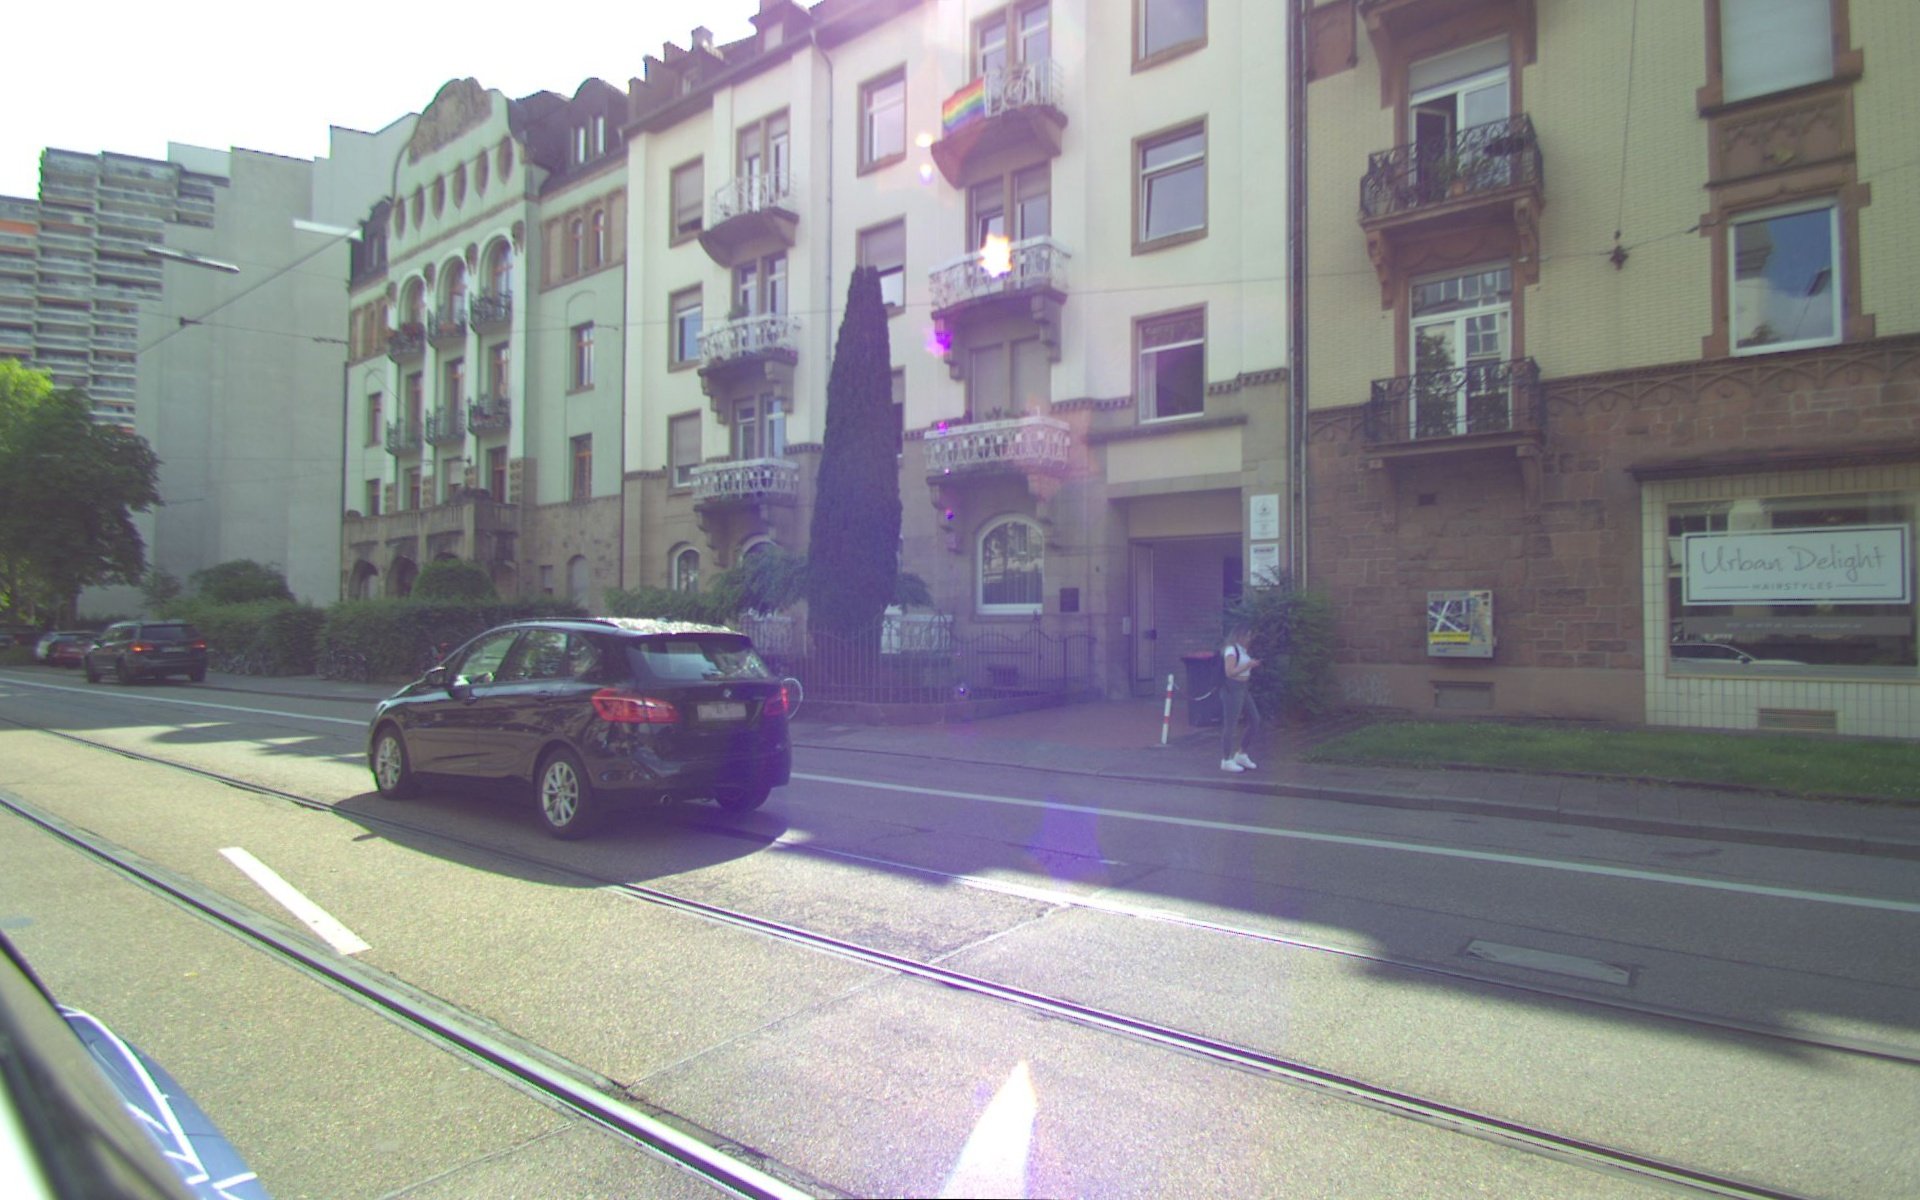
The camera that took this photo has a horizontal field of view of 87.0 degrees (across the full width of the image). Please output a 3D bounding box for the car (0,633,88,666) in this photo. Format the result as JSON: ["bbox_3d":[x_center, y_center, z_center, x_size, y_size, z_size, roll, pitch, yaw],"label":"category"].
[{"bbox_3d":[-43.990,2.324,47.983,3.938,1.519,2.002,2,-3,-42],"label":"car"}]

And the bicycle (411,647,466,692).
[{"bbox_3d":[-12.144,1.600,23.566,1.785,1.003,0.462,-2,-3,40],"label":"bicycle"}]

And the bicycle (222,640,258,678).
[{"bbox_3d":[-22.511,1.828,31.635,1.785,1.144,0.462,-2,-3,40],"label":"bicycle"}]

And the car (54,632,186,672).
[{"bbox_3d":[-33.385,2.048,40.257,3.938,1.519,2.002,2,-3,-42],"label":"car"}]

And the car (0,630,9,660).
[{"bbox_3d":[-56.914,2.575,57.636,3.938,1.695,2.002,2,-3,-42],"label":"car"}]

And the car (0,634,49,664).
[{"bbox_3d":[-49.130,2.491,51.608,3.938,1.519,2.002,2,-3,-42],"label":"car"}]

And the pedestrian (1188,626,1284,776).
[{"bbox_3d":[3.009,1.067,11.026,0.764,1.553,0.749,-2,-3,39],"label":"pedestrian"}]

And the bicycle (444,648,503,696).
[{"bbox_3d":[-10.728,1.565,22.303,1.785,1.003,0.462,-2,-3,40],"label":"bicycle"}]

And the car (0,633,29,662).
[{"bbox_3d":[-51.822,2.521,53.388,3.938,1.519,2.002,2,-3,-42],"label":"car"}]

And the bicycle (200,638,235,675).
[{"bbox_3d":[-24.167,1.824,32.924,1.785,1.144,0.462,-2,-3,40],"label":"bicycle"}]

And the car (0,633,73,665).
[{"bbox_3d":[-46.447,2.401,49.960,3.938,1.519,2.002,2,-3,-42],"label":"car"}]

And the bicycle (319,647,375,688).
[{"bbox_3d":[-15.619,1.704,25.775,1.979,1.003,0.597,-2,-3,40],"label":"bicycle"}]

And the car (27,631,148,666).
[{"bbox_3d":[-38.677,2.127,44.922,3.938,1.519,2.002,2,-3,-42],"label":"car"}]

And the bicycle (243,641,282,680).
[{"bbox_3d":[-20.985,1.809,30.434,1.785,1.144,0.462,-2,-3,40],"label":"bicycle"}]

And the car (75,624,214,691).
[{"bbox_3d":[-22.720,1.549,28.156,4.392,1.708,1.899,-1,-2,36],"label":"car"}]

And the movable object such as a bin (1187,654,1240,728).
[{"bbox_3d":[3.653,1.302,14.615,0.697,1.037,0.475,0,-2,11],"label":"movable object such as a bin"}]

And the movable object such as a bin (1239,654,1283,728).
[{"bbox_3d":[4.320,1.296,14.547,0.531,1.037,0.475,0,-2,11],"label":"movable object such as a bin"}]

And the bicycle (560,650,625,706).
[{"bbox_3d":[-7.140,1.490,19.608,0.461,1.003,1.788,2,-3,-45],"label":"bicycle"}]

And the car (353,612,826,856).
[{"bbox_3d":[-3.161,0.906,8.314,4.062,1.530,1.739,-1,-3,37],"label":"car"}]

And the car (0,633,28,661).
[{"bbox_3d":[-54.013,2.596,55.690,3.938,1.519,2.002,2,-3,-42],"label":"car"}]

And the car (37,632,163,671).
[{"bbox_3d":[-36.069,2.131,42.510,3.938,1.519,2.002,2,-3,-42],"label":"car"}]
